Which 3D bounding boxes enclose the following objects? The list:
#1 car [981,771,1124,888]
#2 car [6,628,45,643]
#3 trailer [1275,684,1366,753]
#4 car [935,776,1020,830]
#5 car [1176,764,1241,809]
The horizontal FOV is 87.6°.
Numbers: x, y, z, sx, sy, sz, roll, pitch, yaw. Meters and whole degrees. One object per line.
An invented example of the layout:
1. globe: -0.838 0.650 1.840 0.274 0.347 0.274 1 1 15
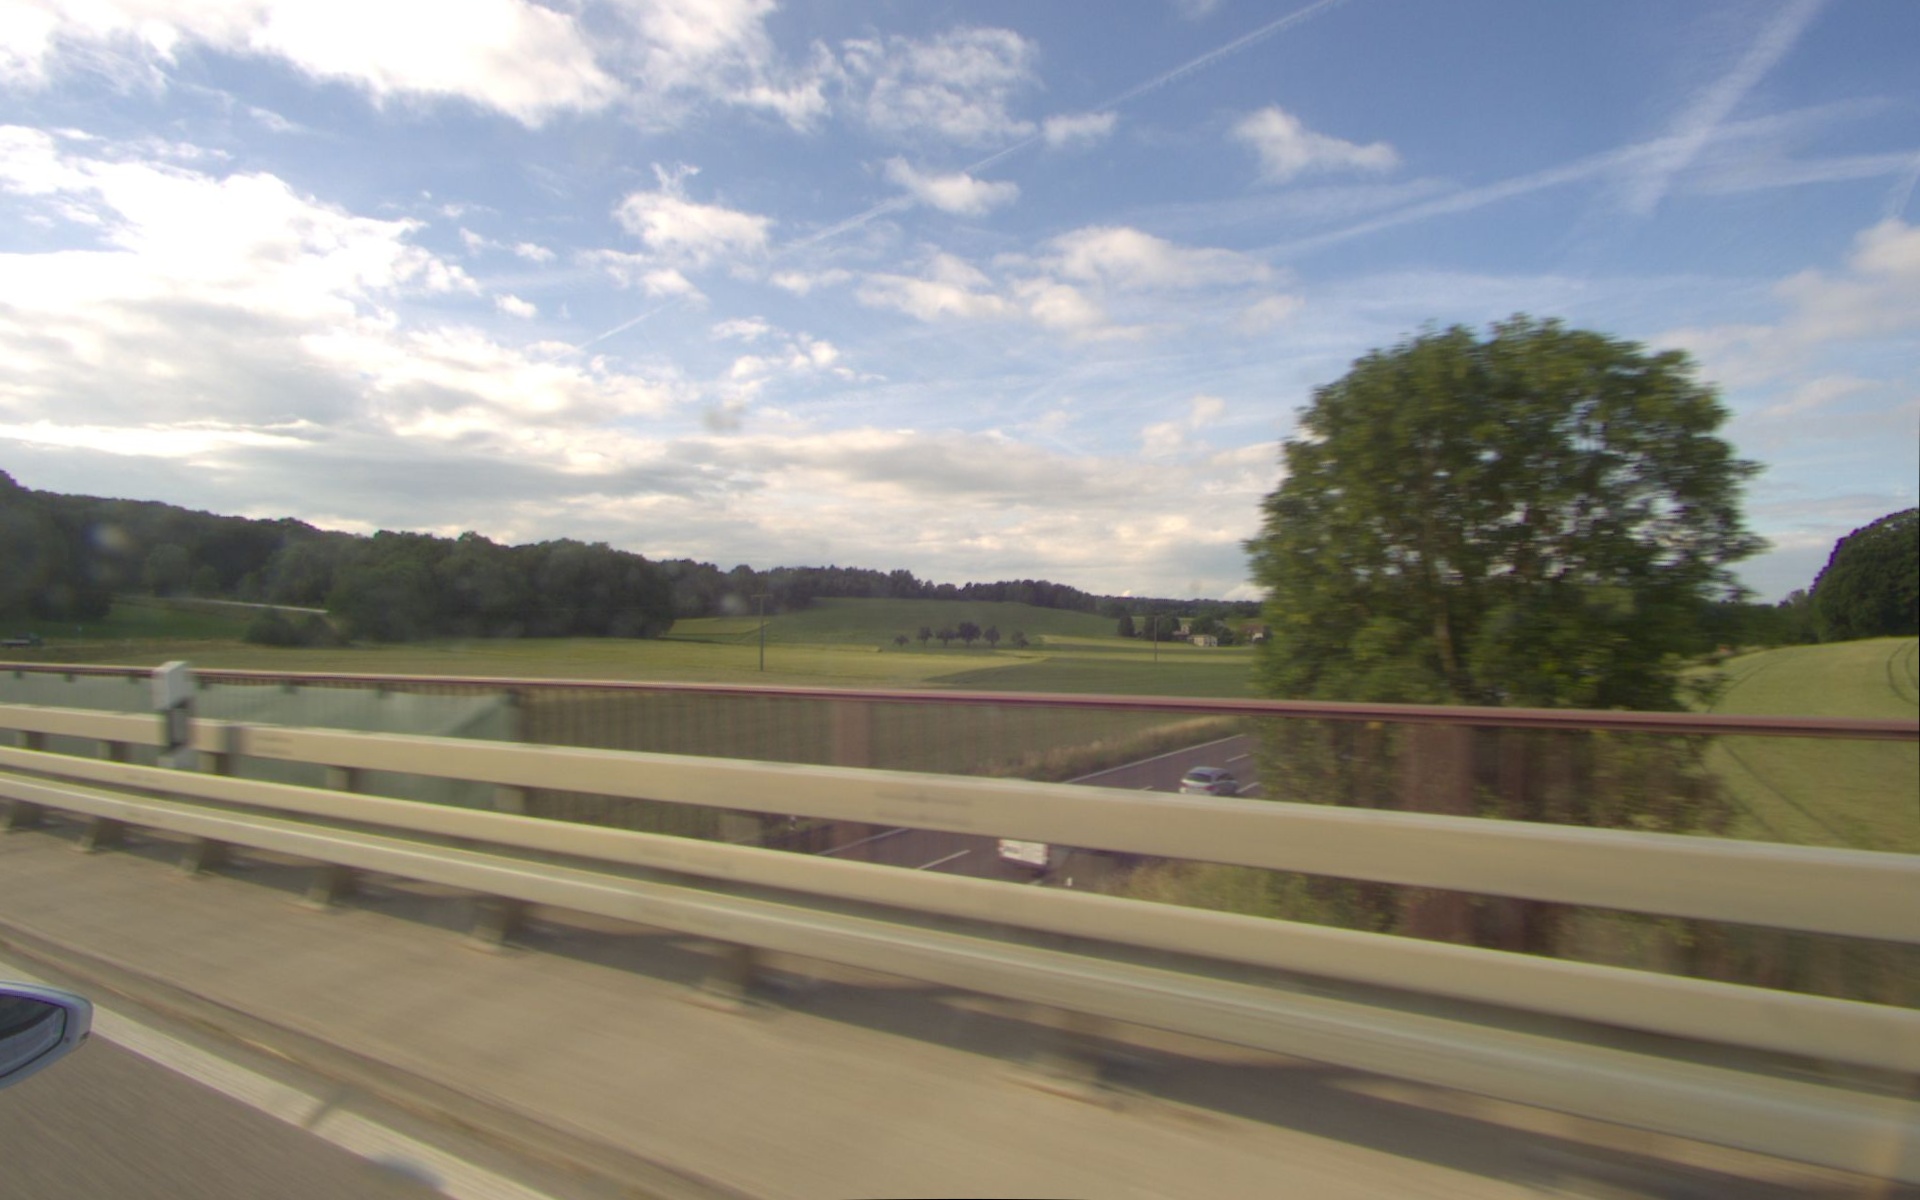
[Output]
1. car: 3.365 7.828 34.954 2.339 2.620 6.091 4 1 33
2. car: -132.399 5.039 141.876 1.962 1.792 4.004 0 -5 -6
3. trailer: 25.290 8.133 69.941 3.787 4.110 9.080 -4 -4 34
4. car: 0.771 8.247 40.953 1.659 1.538 3.981 -1 -3 32
5. car: 12.008 8.952 48.290 1.778 1.488 3.979 1 -1 34
